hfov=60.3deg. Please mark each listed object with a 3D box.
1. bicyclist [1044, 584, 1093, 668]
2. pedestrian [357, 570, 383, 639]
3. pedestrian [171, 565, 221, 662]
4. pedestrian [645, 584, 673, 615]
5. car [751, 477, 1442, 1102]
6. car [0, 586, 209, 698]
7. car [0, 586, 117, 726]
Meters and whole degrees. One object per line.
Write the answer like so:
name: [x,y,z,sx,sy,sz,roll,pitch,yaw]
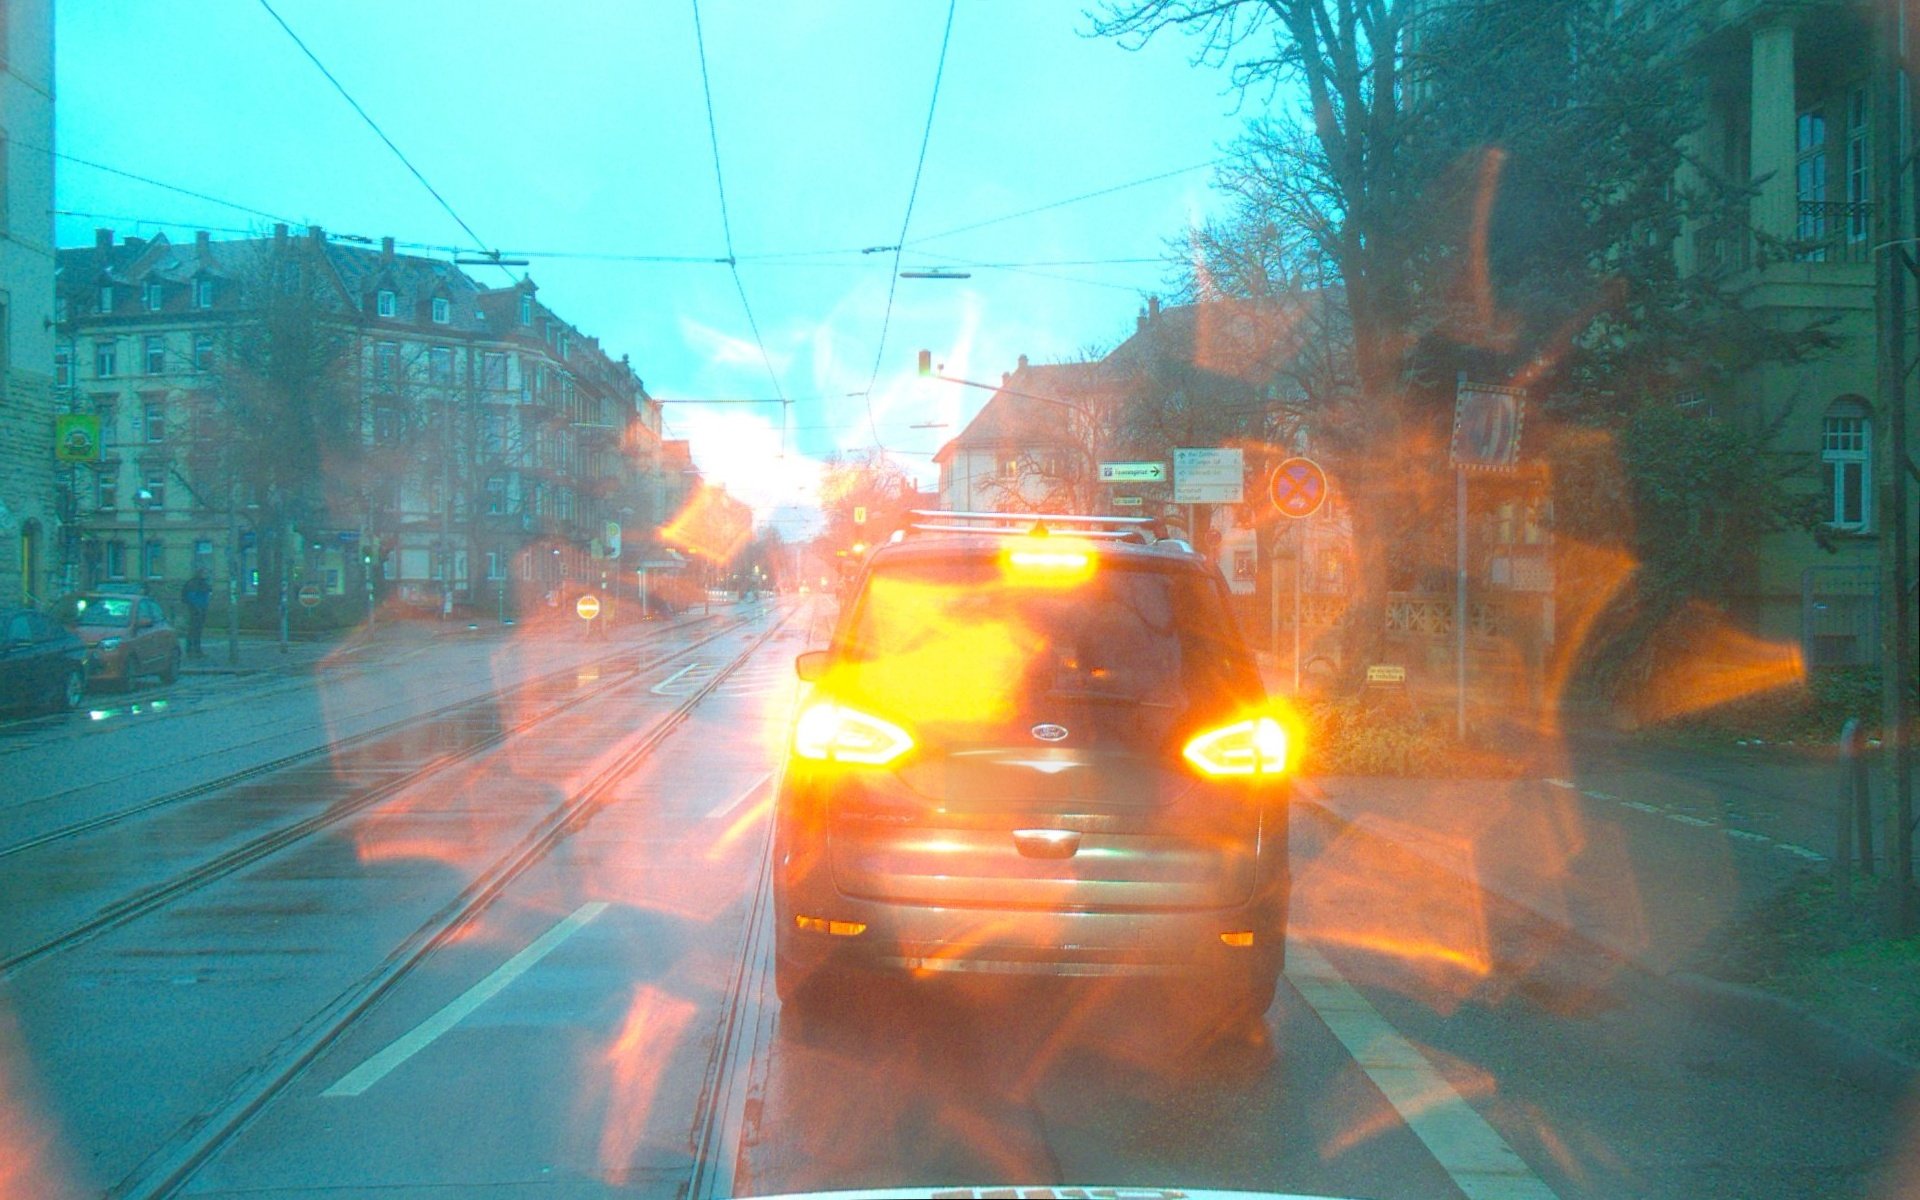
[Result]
bicyclist: [2.259,0.529,34.536,0.703,1.691,1.054,4,0,-9]
pedestrian: [-17.696,0.125,49.583,0.695,2.049,0.656,0,0,-24]
pedestrian: [-16.272,0.283,35.234,0.742,2.049,0.646,0,-1,32]
pedestrian: [-12.320,-0.024,67.776,1.027,1.221,0.884,1,0,-4]
car: [0.332,0.568,7.350,2.061,1.848,4.658,2,0,-2]
car: [-14.297,0.647,27.768,2.000,1.578,4.023,4,0,-9]
car: [-13.133,0.672,21.854,1.949,1.674,4.624,5,-1,-7]
